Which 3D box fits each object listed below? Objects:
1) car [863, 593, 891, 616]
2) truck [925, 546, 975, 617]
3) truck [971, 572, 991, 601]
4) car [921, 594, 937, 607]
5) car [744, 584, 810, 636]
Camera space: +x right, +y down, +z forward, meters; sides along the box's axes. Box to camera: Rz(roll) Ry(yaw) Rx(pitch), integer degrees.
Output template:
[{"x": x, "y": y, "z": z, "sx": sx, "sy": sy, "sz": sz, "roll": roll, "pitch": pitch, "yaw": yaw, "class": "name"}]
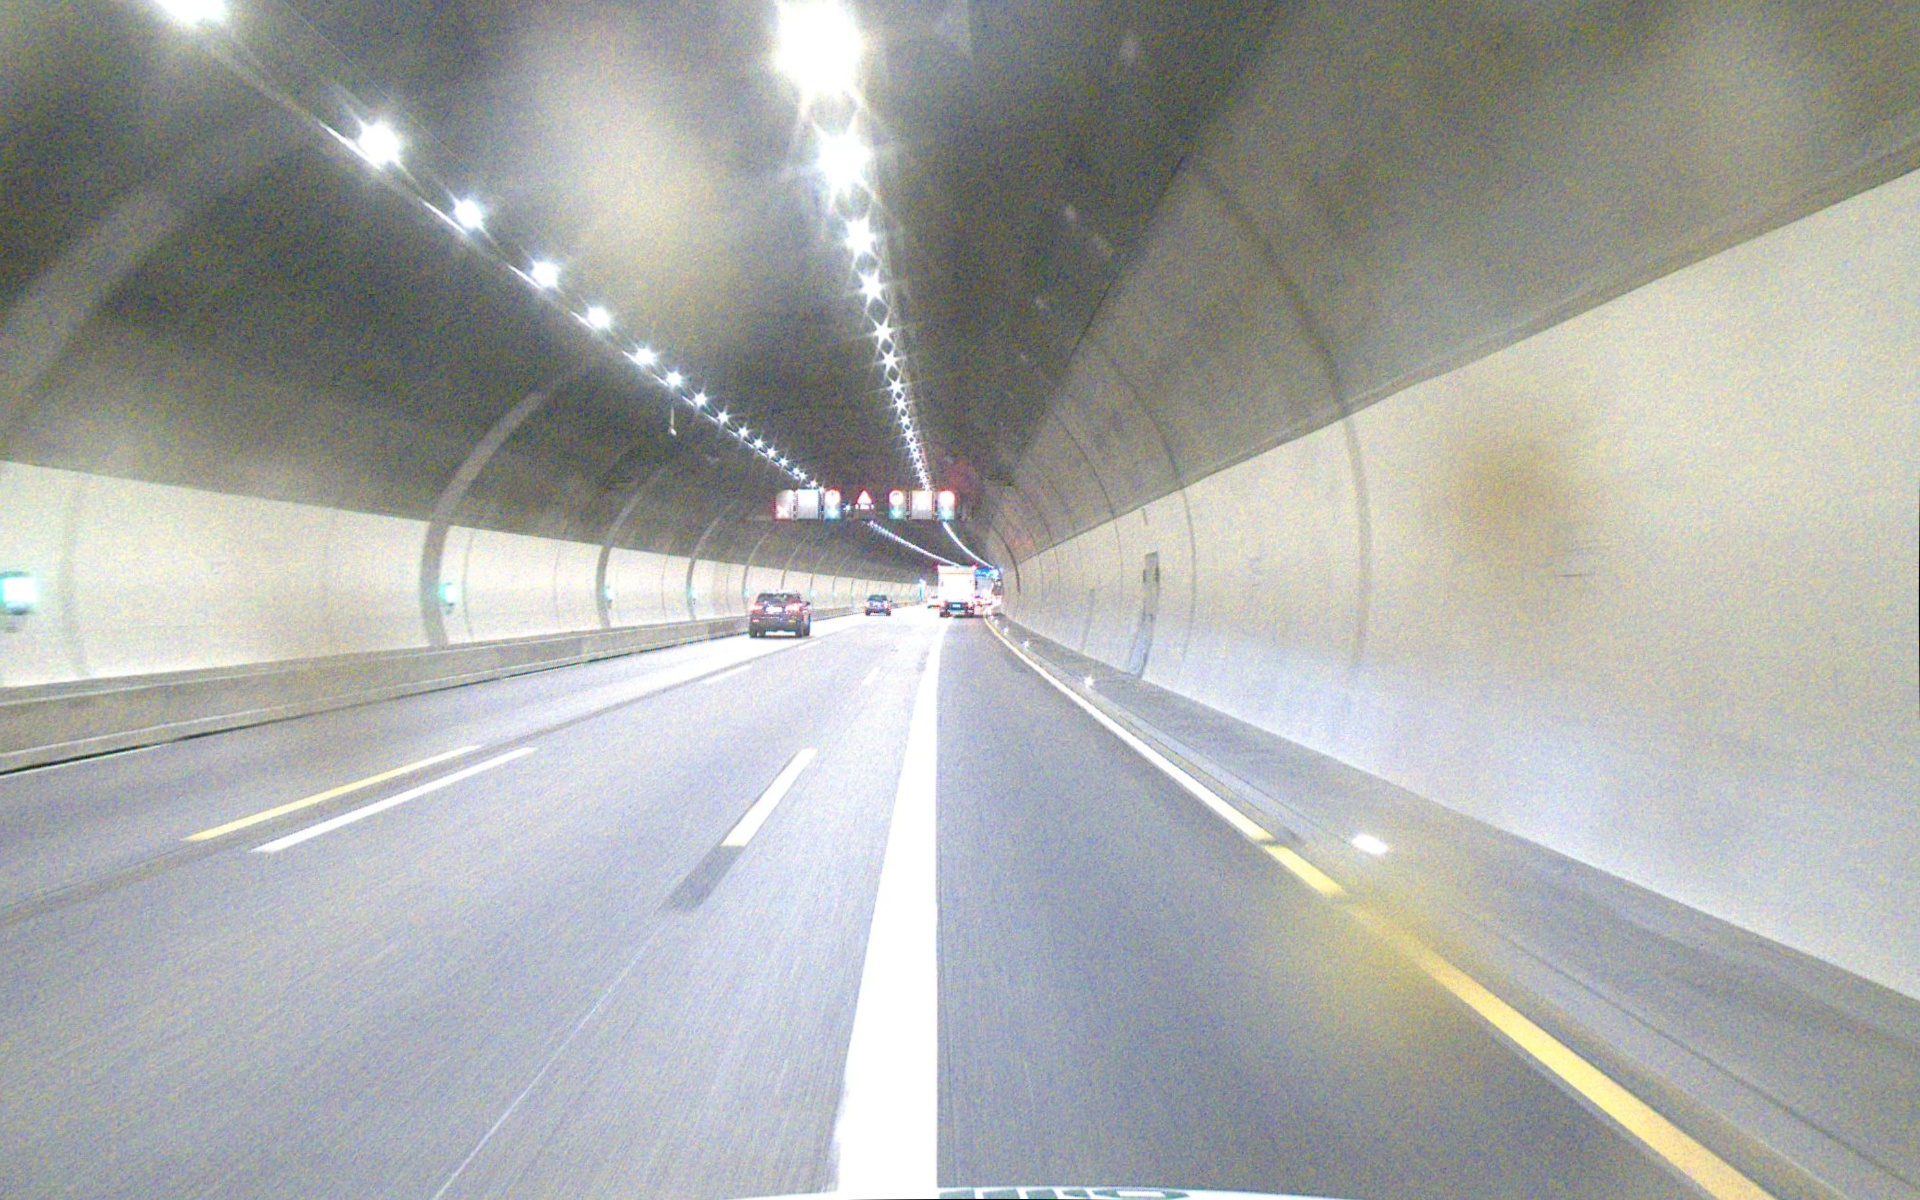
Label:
[{"x": -5.768, "y": 0.300, "z": 114.852, "sx": 1.776, "sy": 1.546, "sz": 3.999, "roll": 1, "pitch": 1, "yaw": -1, "class": "car"}, {"x": -0.862, "y": -1.344, "z": 119.918, "sx": 3.212, "sy": 4.731, "sz": 17.281, "roll": 0, "pitch": 1, "yaw": -2, "class": "truck"}, {"x": 3.174, "y": -1.964, "z": 247.501, "sx": 2.862, "sy": 4.118, "sz": 14.031, "roll": 0, "pitch": 0, "yaw": 1, "class": "truck"}, {"x": -3.327, "y": 0.049, "z": 176.258, "sx": 1.617, "sy": 1.297, "sz": 4.000, "roll": 1, "pitch": 2, "yaw": -1, "class": "car"}, {"x": -6.220, "y": 0.315, "z": 56.581, "sx": 1.775, "sy": 1.646, "sz": 4.000, "roll": 1, "pitch": 0, "yaw": 0, "class": "car"}]
